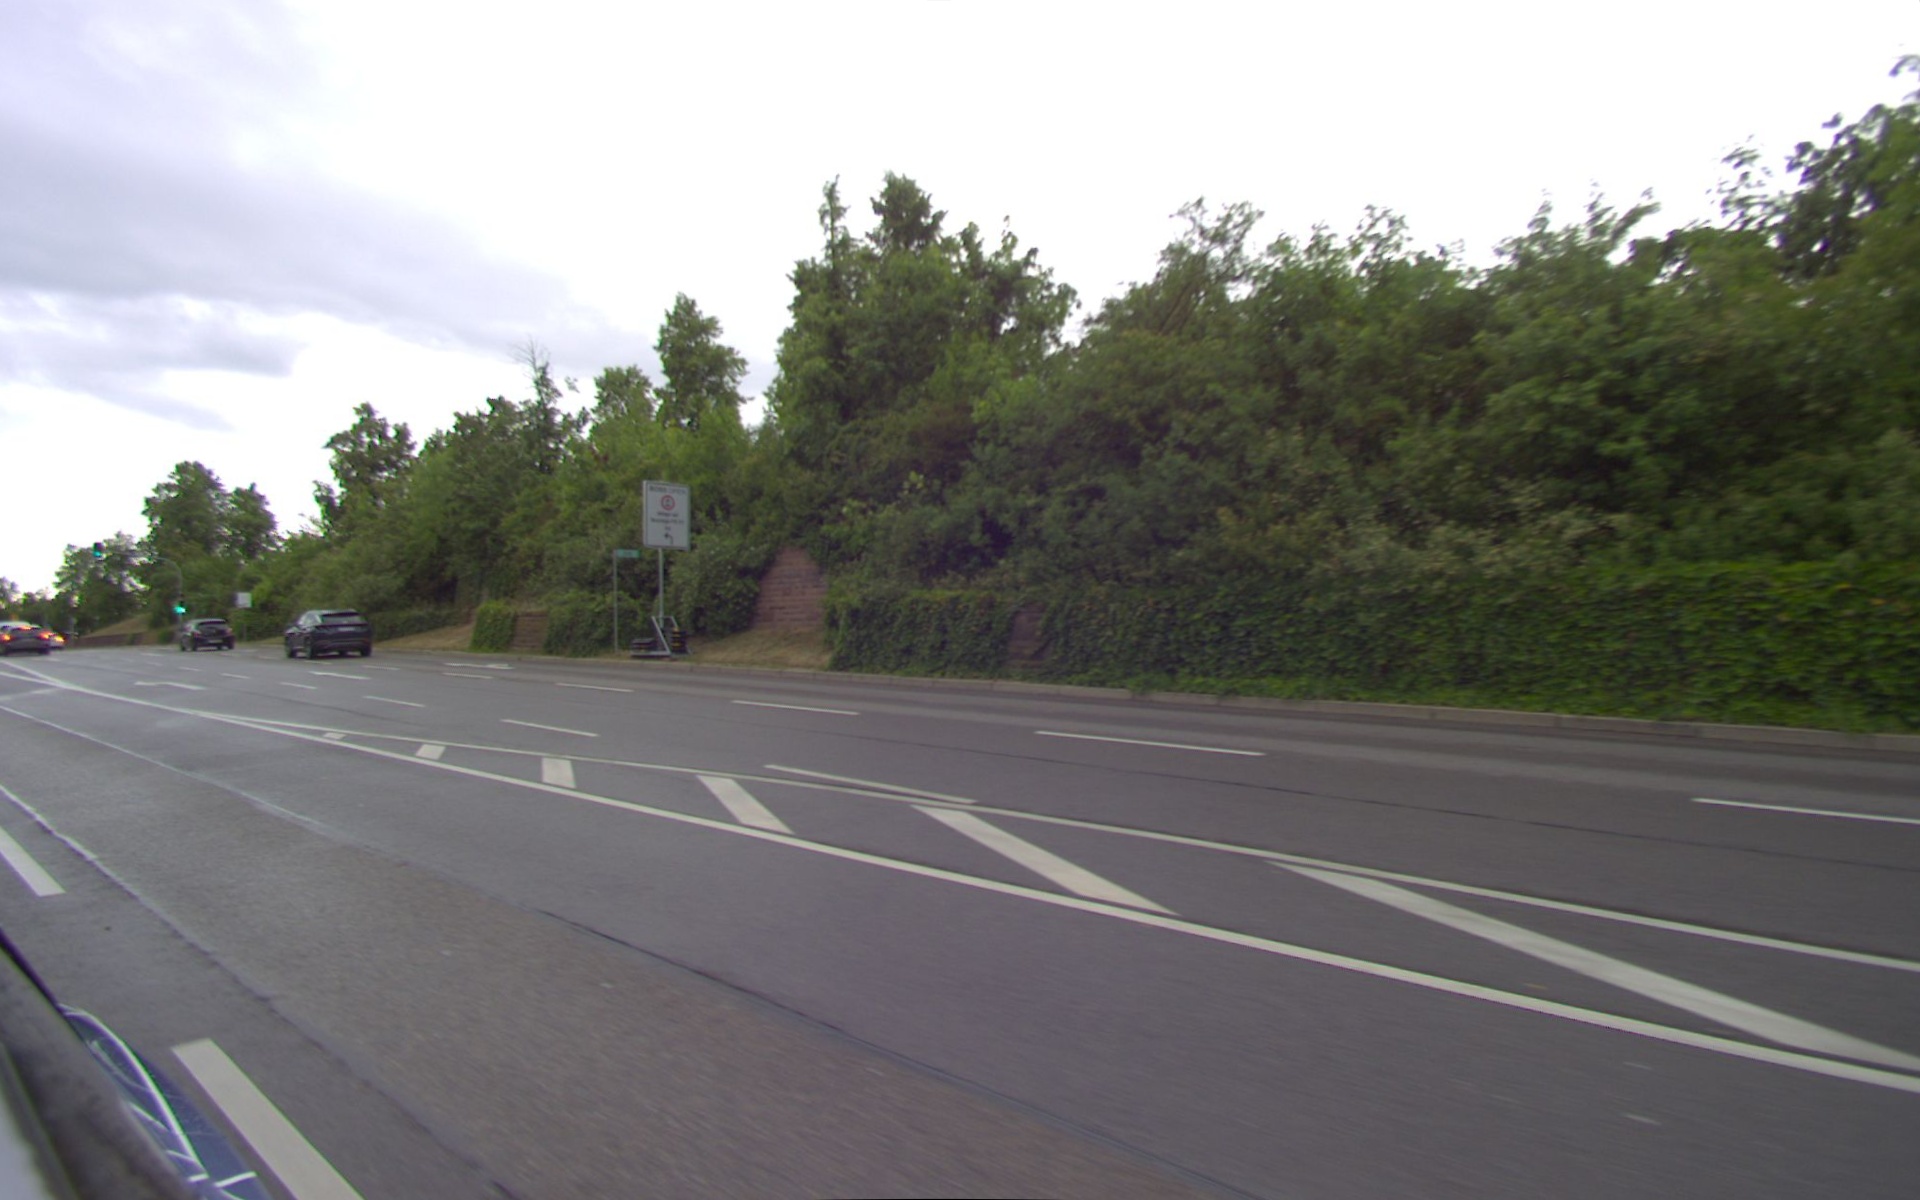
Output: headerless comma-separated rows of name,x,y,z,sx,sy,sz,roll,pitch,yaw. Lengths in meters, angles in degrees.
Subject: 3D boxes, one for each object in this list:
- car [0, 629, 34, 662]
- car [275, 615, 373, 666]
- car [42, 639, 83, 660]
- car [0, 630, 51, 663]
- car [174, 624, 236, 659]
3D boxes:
car,-51.399,2.461,54.529,4.450,1.668,1.865,-2,-1,43
car,-22.066,1.378,35.045,4.428,1.618,1.780,-2,0,43
car,-76.793,4.204,86.593,4.444,1.668,1.868,-2,-1,39
car,-45.610,2.251,49.185,3.997,1.478,1.758,-2,-1,43
car,-35.548,1.938,47.608,3.861,1.478,1.657,-2,0,43
